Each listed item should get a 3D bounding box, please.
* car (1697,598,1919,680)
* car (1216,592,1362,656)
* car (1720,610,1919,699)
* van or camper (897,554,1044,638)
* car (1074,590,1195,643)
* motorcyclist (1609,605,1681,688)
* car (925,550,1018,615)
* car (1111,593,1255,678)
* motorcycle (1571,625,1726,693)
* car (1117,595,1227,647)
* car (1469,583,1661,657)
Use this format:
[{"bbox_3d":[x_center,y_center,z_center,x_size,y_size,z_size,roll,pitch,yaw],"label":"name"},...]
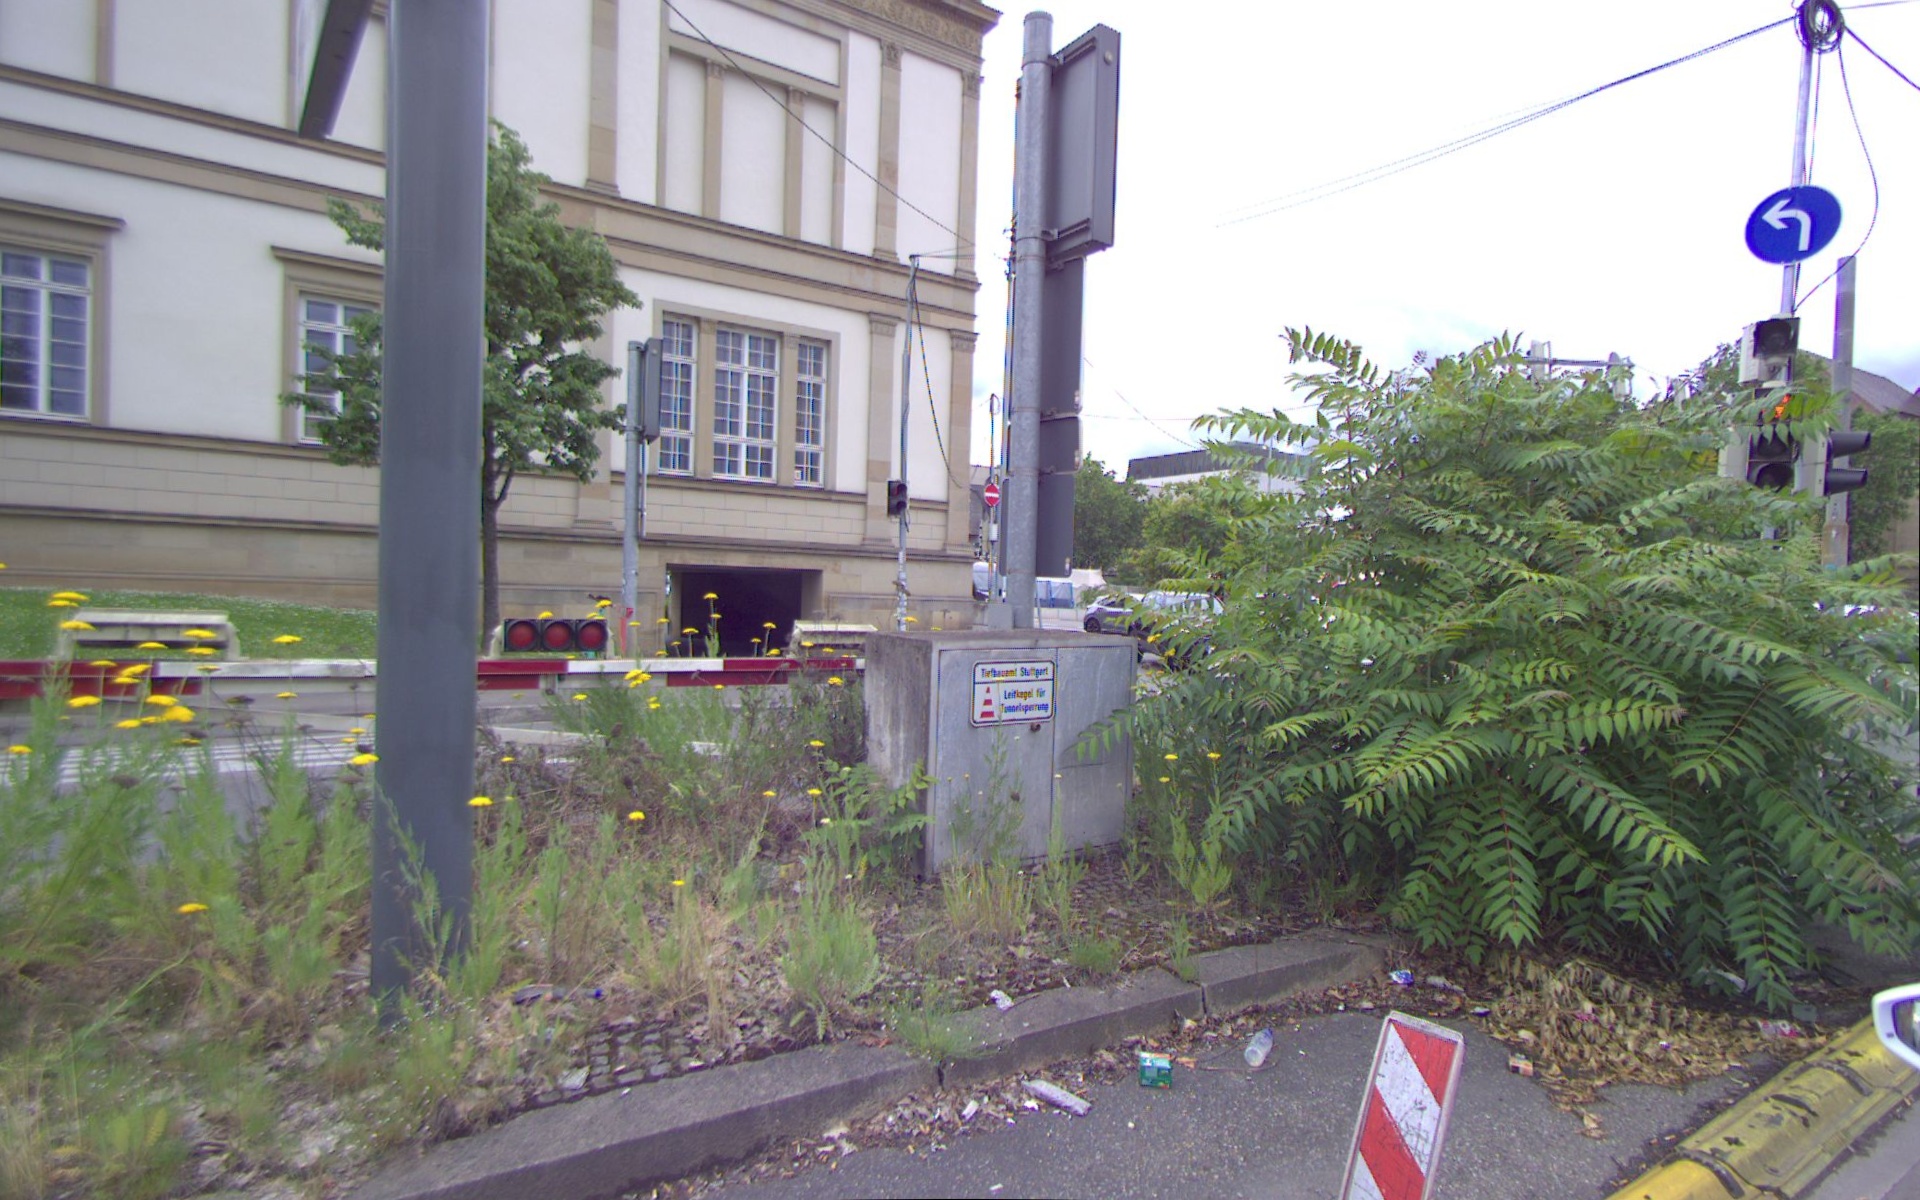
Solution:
[{"bbox_3d":[21.893,0.933,25.597,1.849,1.858,4.681,2,0,-32],"label":"car"},{"bbox_3d":[10.185,0.710,31.376,1.889,1.763,4.051,2,1,-32],"label":"car"},{"bbox_3d":[17.751,1.037,19.732,1.979,1.568,4.083,2,0,-33],"label":"car"},{"bbox_3d":[0.215,-0.151,34.844,2.136,2.645,6.029,1,0,-32],"label":"van or camper"},{"bbox_3d":[5.549,0.502,32.322,1.695,1.563,3.830,2,0,-32],"label":"car"},{"bbox_3d":[13.590,0.917,19.930,0.807,1.591,0.875,2,0,-29],"label":"motorcyclist"},{"bbox_3d":[0.425,-0.713,42.357,1.978,2.585,4.083,2,0,-32],"label":"car"},{"bbox_3d":[4.763,0.710,22.124,1.850,1.647,4.368,2,0,-4],"label":"car"},{"bbox_3d":[13.590,1.136,19.924,0.807,1.170,2.412,2,0,-29],"label":"motorcycle"},{"bbox_3d":[8.045,0.756,38.432,1.889,1.763,3.964,2,1,-32],"label":"car"},{"bbox_3d":[16.841,0.506,28.169,1.975,1.859,4.226,-2,1,-28],"label":"car"}]
